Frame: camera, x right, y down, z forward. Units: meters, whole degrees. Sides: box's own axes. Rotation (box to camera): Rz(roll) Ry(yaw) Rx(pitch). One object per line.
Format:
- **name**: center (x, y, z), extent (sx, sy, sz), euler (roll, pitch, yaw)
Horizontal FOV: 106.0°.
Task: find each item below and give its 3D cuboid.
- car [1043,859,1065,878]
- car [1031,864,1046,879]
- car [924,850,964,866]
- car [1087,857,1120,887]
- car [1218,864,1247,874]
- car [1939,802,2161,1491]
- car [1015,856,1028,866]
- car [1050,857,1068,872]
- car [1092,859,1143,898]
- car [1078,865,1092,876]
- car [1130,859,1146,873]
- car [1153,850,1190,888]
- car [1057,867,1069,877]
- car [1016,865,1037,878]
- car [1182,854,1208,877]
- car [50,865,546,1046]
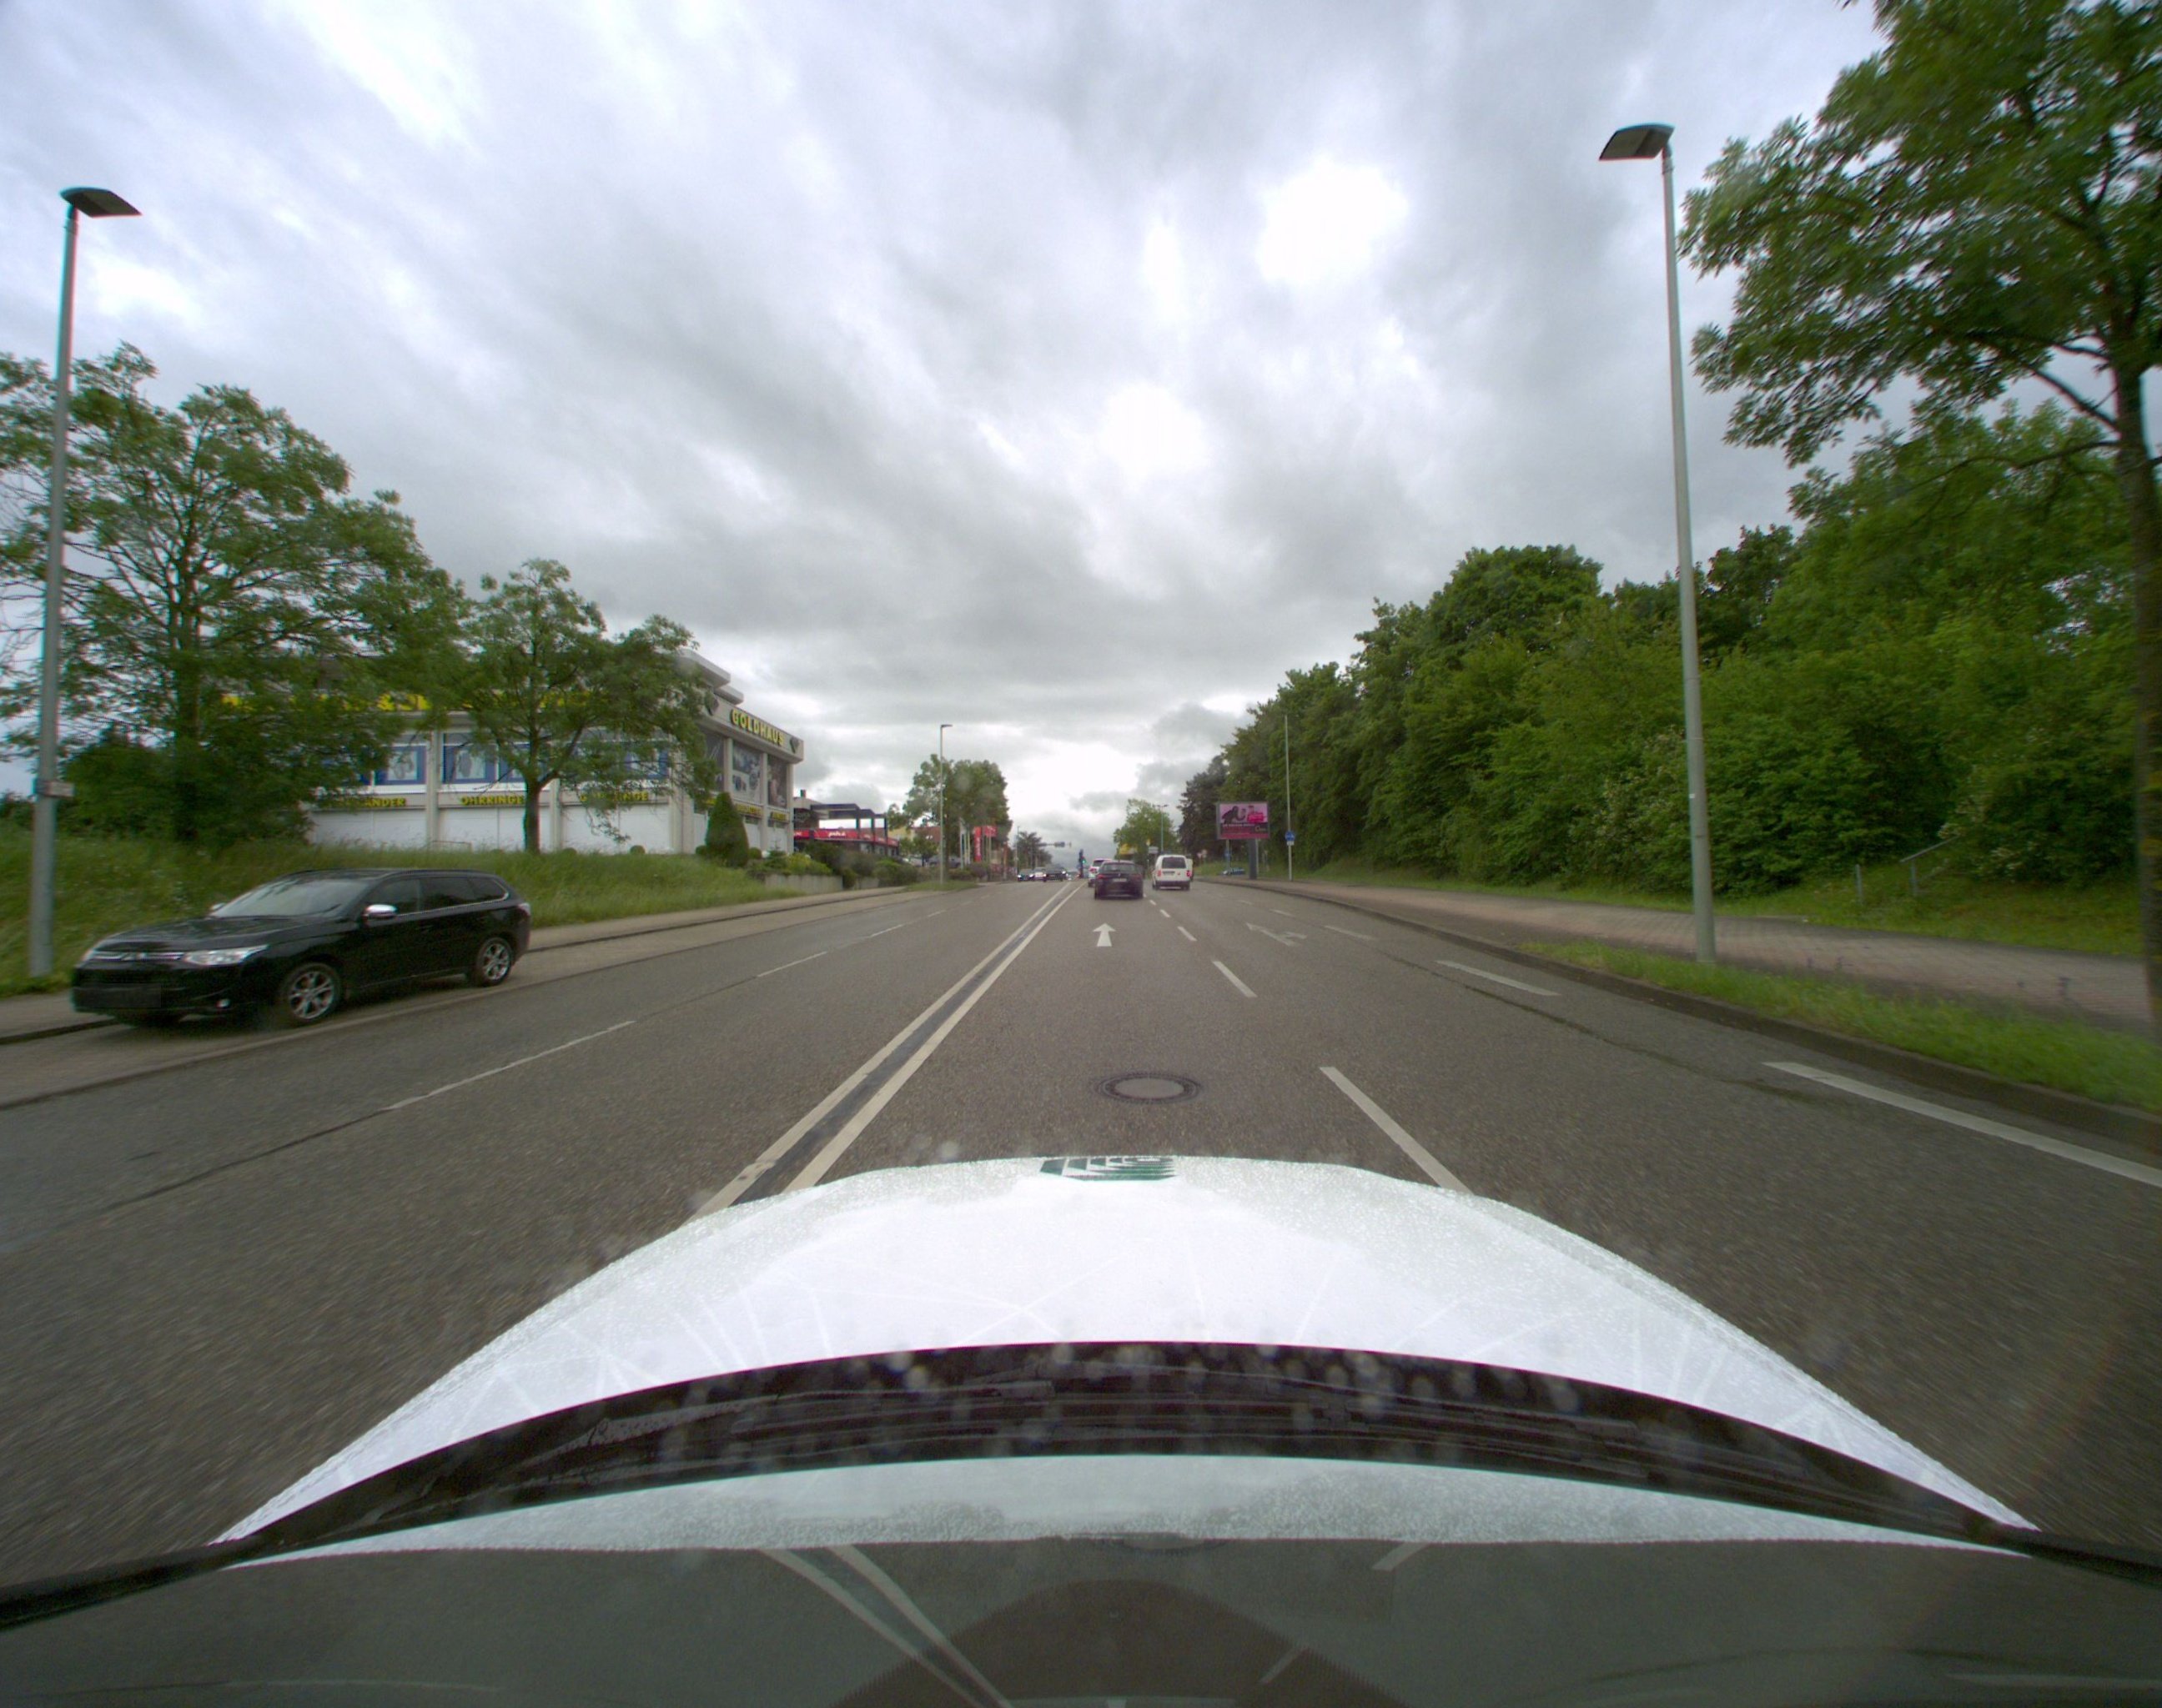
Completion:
- **car**: center (-2.483, 1.334, 74.876), extent (1.789, 1.584, 4.198), euler (-2, 0, 0)
- **car**: center (-6.008, 2.405, 115.258), extent (1.791, 1.983, 4.895), euler (-3, -1, -1)
- **car**: center (-13.681, 0.432, 81.613), extent (3.821, 1.482, 1.738), euler (-1, -1, -6)
- **car**: center (1.350, 1.041, 48.039), extent (1.720, 1.711, 3.387), euler (0, 0, 5)
- **car**: center (23.121, 2.325, 124.494), extent (3.997, 1.294, 1.599), euler (-2, 0, -17)
- **car**: center (3.309, 0.669, 0.300), extent (1.707, 1.596, 4.132), euler (0, 0, 1)
- **car**: center (-10.119, 1.204, 138.070), extent (1.746, 1.611, 4.531), euler (-3, -1, 0)
- **car**: center (-2.583, 1.255, 94.849), extent (1.816, 1.607, 4.284), euler (-2, -1, 1)
- **car**: center (1.478, 0.906, 31.645), extent (1.847, 1.419, 3.961), euler (0, 0, 4)
- **car**: center (0.614, 2.400, 118.539), extent (1.890, 1.456, 4.093), euler (-1, -2, -2)
- **car**: center (5.905, 1.213, 84.344), extent (1.594, 1.372, 3.683), euler (-2, 0, 3)
- **car**: center (4.674, 0.755, 42.623), extent (1.734, 1.869, 3.949), euler (0, 0, 3)
- **car**: center (-2.689, 2.758, 122.403), extent (1.662, 1.398, 3.998), euler (-3, -1, -1)
- **car**: center (-6.083, 1.949, 91.393), extent (1.786, 1.401, 4.302), euler (-3, 0, 2)
- **car**: center (9.348, 0.923, 67.147), extent (1.806, 1.708, 3.949), euler (-1, 0, 3)
- **car**: center (-9.070, 1.010, 10.140), extent (1.719, 1.668, 4.490), euler (0, 0, 2)
